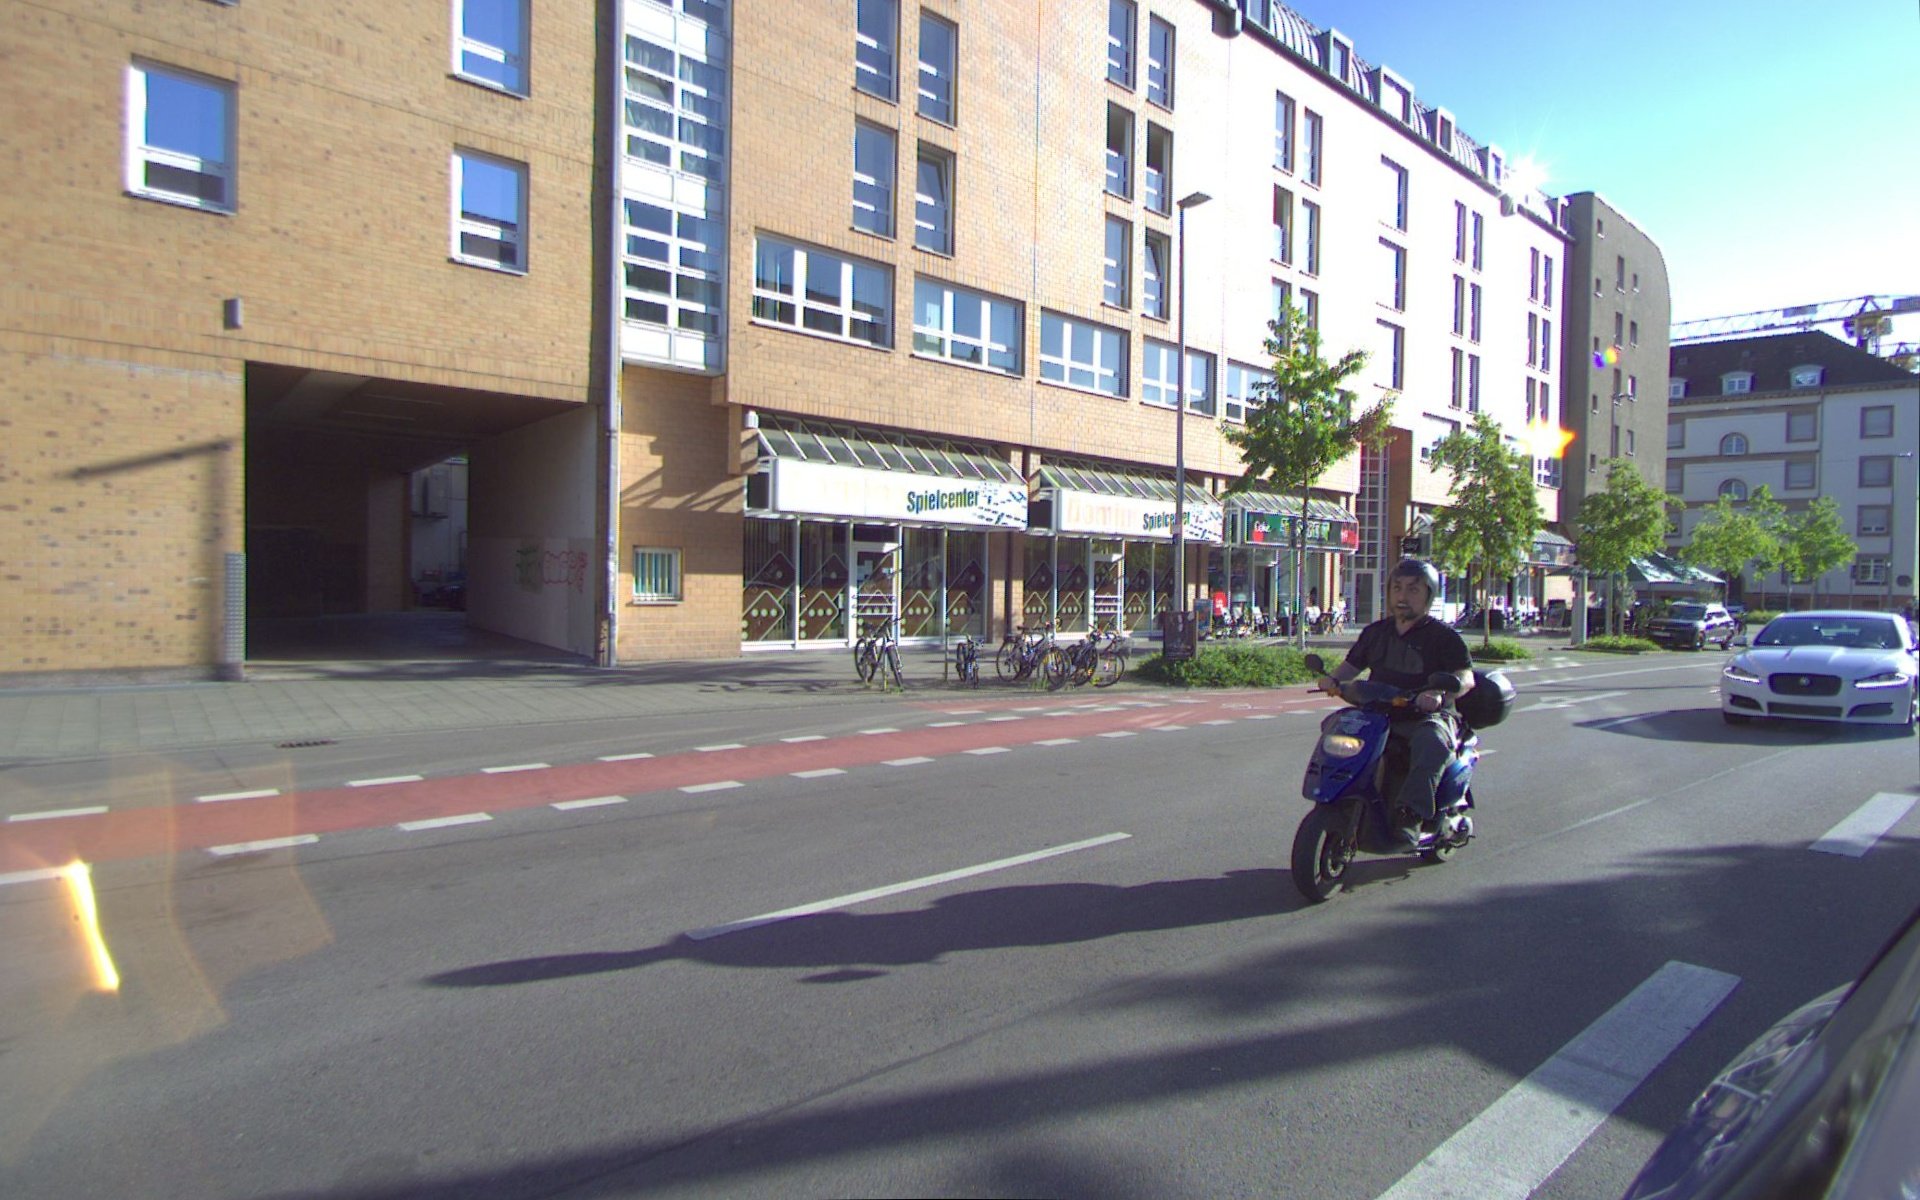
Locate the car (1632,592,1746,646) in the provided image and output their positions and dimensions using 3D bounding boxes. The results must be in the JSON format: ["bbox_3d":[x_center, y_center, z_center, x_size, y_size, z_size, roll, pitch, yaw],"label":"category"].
[{"bbox_3d":[25.240,0.618,35.011,3.921,1.659,1.782,0,3,-33],"label":"car"}]

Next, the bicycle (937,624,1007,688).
[{"bbox_3d":[0.164,0.884,16.421,0.359,0.842,1.779,0,3,-26],"label":"bicycle"}]

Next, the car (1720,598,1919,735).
[{"bbox_3d":[11.506,0.724,13.148,4.376,1.448,1.806,0,1,-42],"label":"car"}]

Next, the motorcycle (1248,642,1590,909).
[{"bbox_3d":[2.604,0.826,5.572,2.334,1.064,0.805,-1,1,-41],"label":"motorcycle"}]

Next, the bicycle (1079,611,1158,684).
[{"bbox_3d":[2.718,0.795,17.563,0.343,1.069,1.843,0,3,-26],"label":"bicycle"}]

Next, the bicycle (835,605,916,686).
[{"bbox_3d":[-1.347,0.679,15.862,0.423,1.089,1.776,-1,4,-35],"label":"bicycle"}]

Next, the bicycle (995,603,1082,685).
[{"bbox_3d":[1.274,0.690,16.861,0.553,1.177,1.843,0,3,-26],"label":"bicycle"}]

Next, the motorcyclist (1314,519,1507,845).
[{"bbox_3d":[2.412,0.399,5.442,0.520,1.600,0.797,-1,0,-41],"label":"motorcyclist"}]

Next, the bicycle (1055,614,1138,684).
[{"bbox_3d":[2.307,0.805,17.347,0.440,0.997,1.843,0,3,-26],"label":"bicycle"}]
